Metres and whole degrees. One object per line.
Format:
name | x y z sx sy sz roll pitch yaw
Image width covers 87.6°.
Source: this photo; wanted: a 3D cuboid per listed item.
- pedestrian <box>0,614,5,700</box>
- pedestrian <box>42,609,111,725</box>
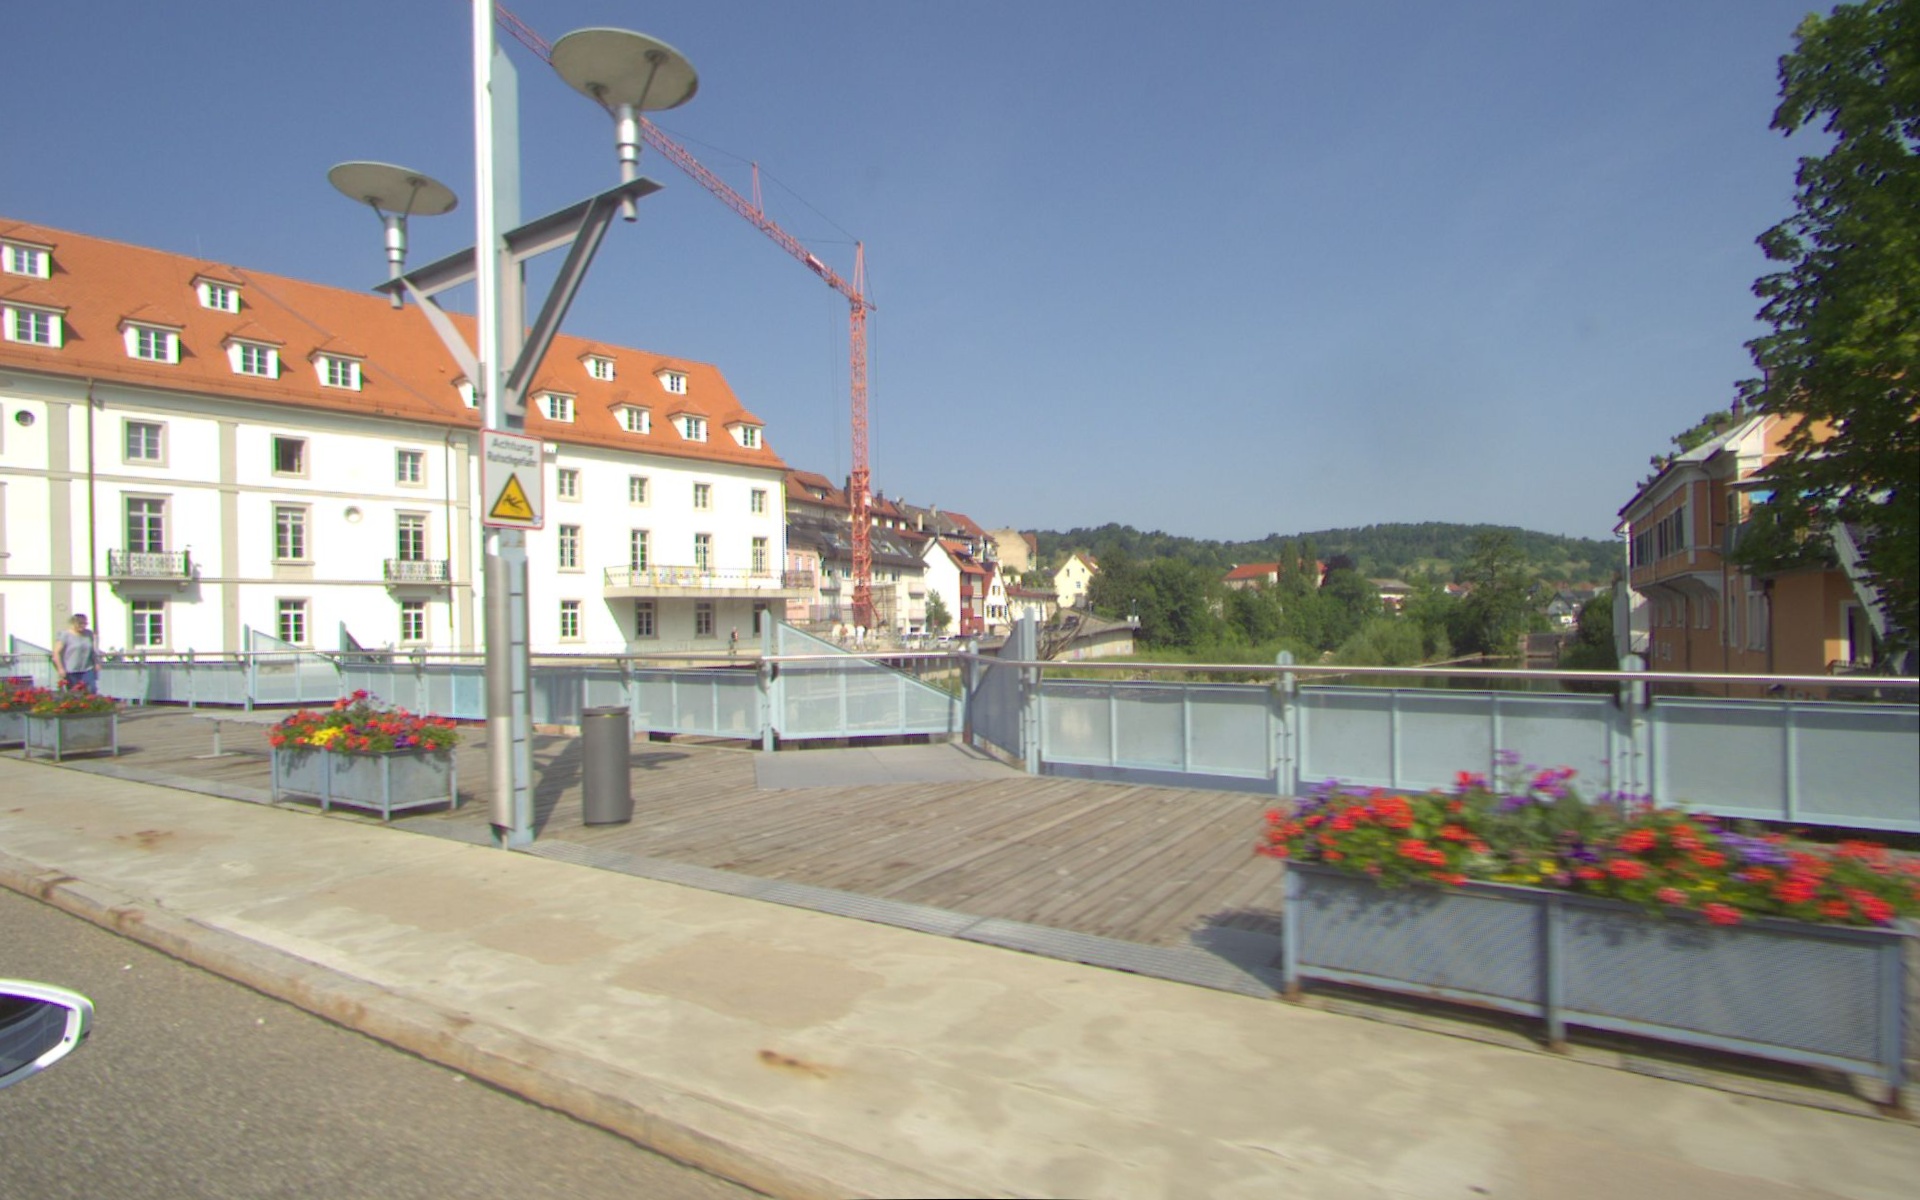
pedestrian | -19.808 1.151 20.148 0.737 1.745 0.724 -1 -1 34
pedestrian | -12.797 0.952 14.506 0.556 1.639 0.663 -1 -1 38
